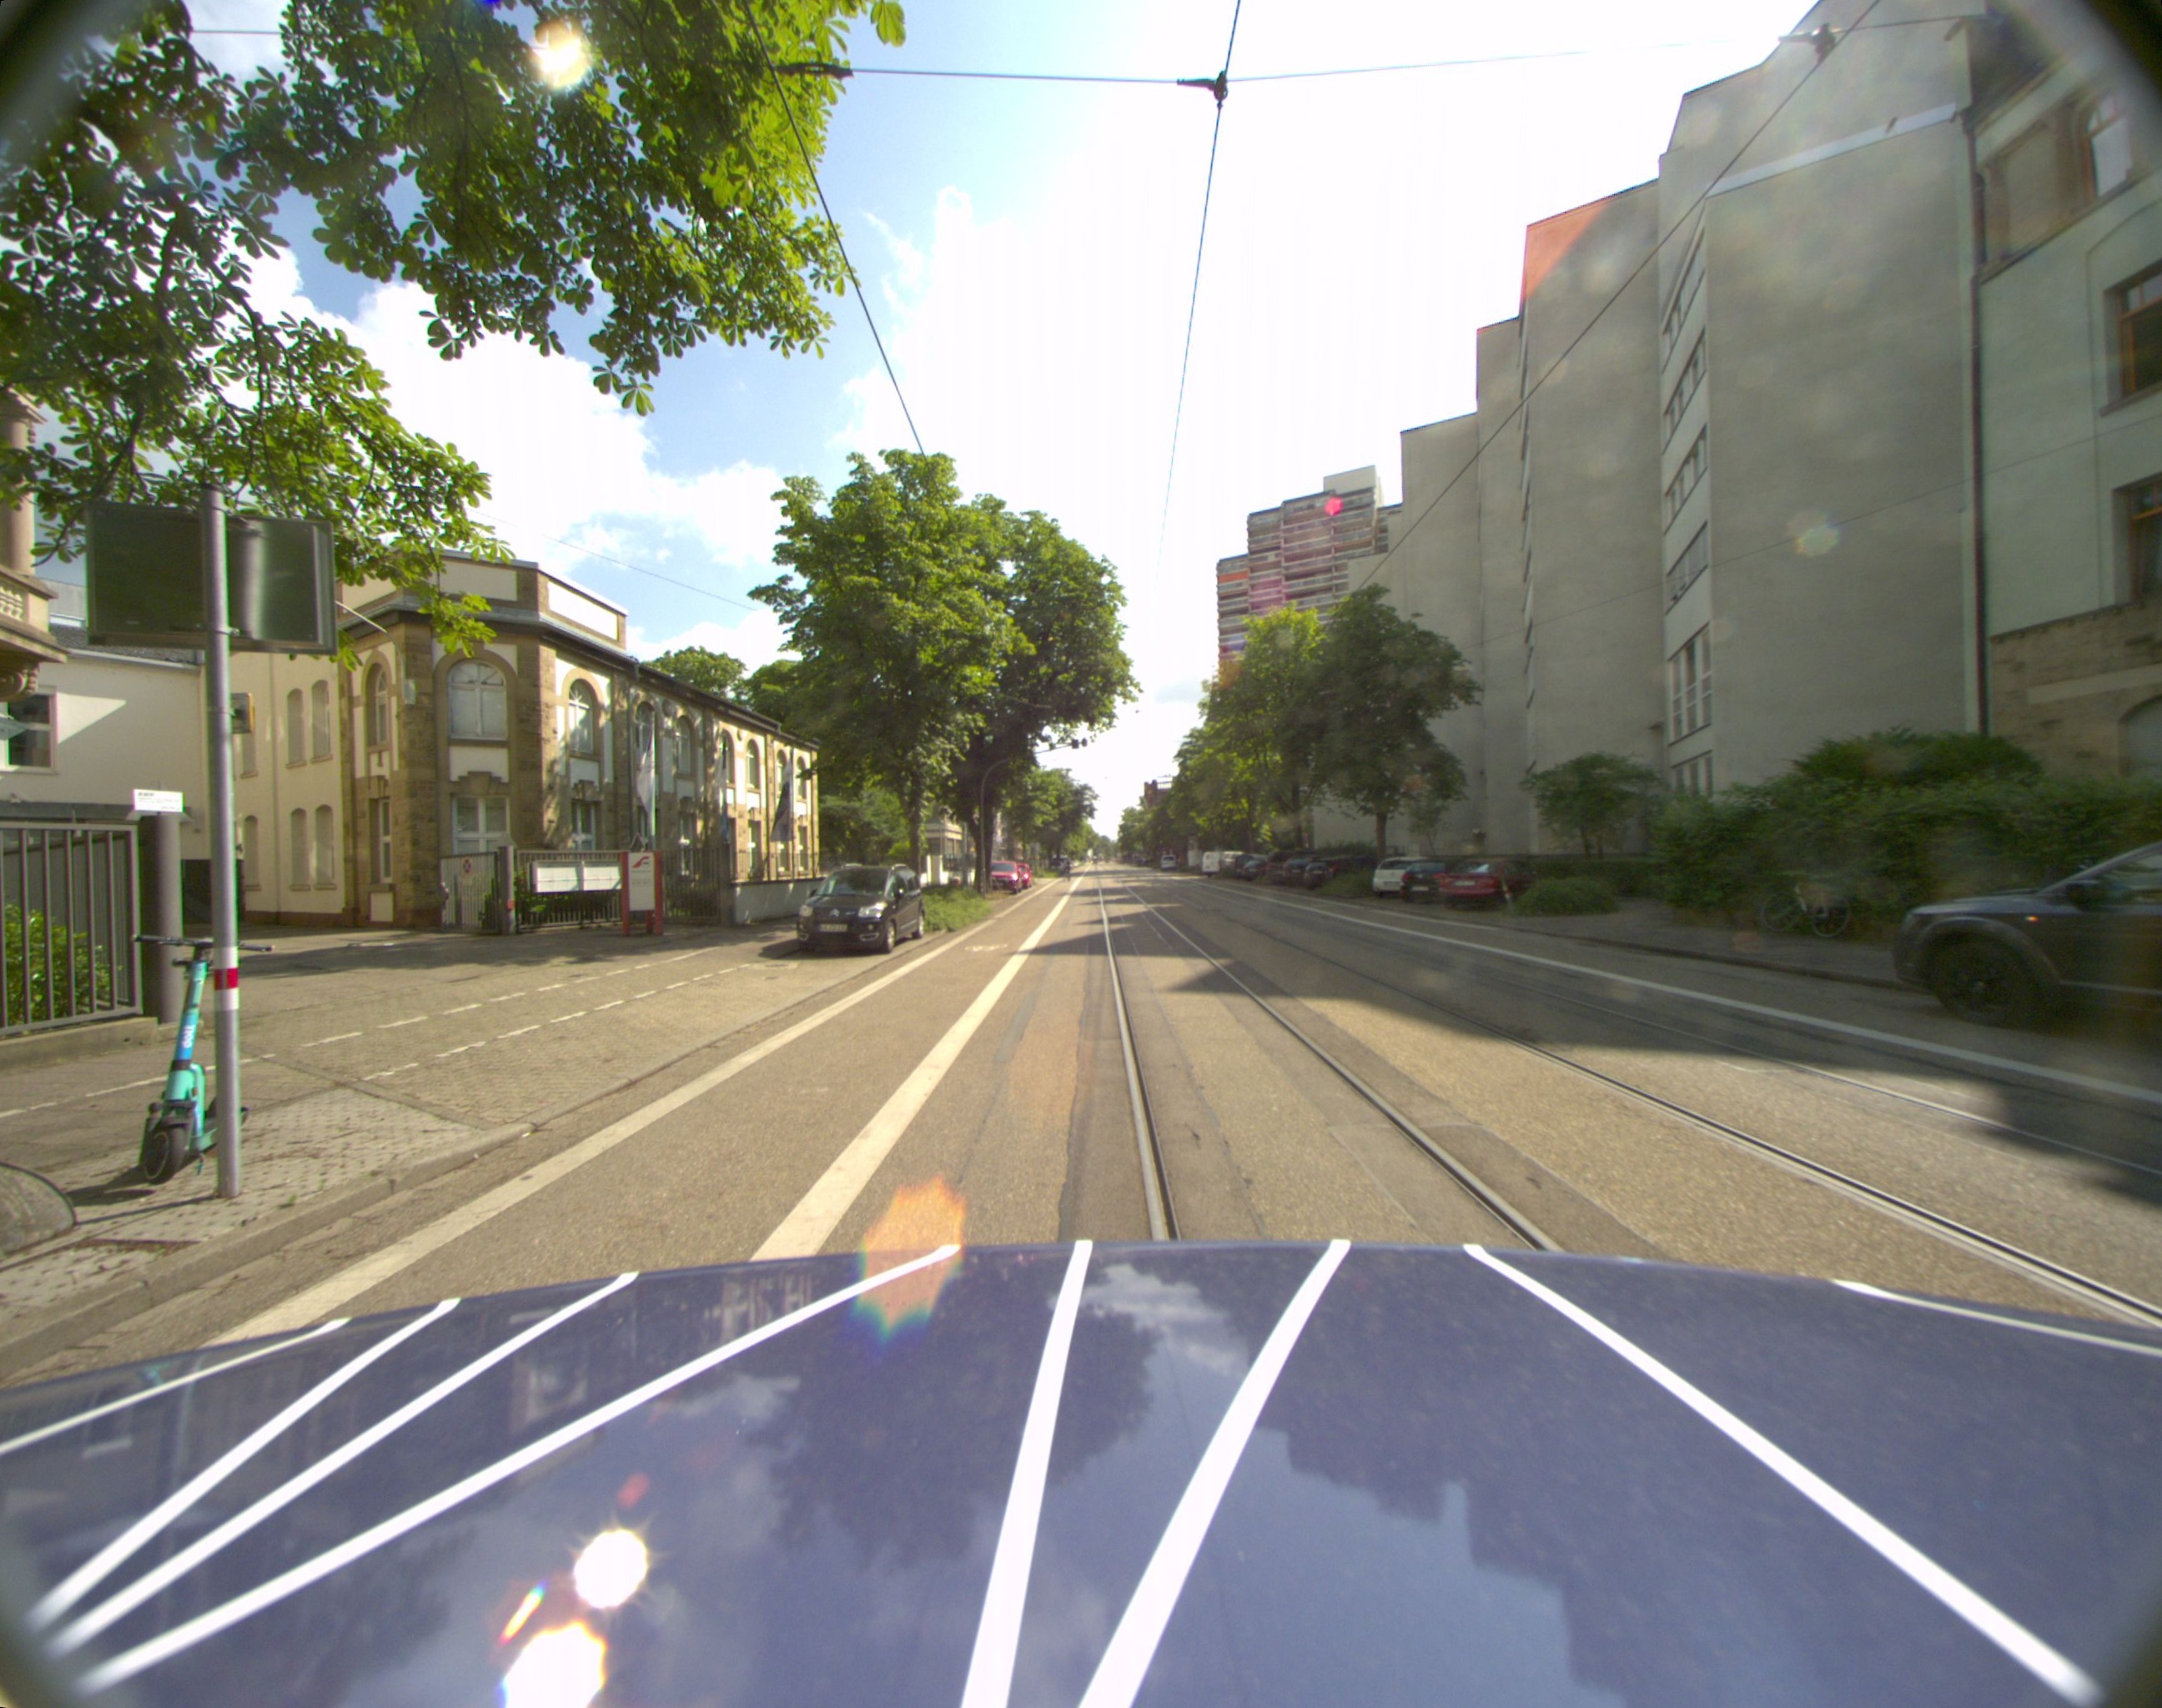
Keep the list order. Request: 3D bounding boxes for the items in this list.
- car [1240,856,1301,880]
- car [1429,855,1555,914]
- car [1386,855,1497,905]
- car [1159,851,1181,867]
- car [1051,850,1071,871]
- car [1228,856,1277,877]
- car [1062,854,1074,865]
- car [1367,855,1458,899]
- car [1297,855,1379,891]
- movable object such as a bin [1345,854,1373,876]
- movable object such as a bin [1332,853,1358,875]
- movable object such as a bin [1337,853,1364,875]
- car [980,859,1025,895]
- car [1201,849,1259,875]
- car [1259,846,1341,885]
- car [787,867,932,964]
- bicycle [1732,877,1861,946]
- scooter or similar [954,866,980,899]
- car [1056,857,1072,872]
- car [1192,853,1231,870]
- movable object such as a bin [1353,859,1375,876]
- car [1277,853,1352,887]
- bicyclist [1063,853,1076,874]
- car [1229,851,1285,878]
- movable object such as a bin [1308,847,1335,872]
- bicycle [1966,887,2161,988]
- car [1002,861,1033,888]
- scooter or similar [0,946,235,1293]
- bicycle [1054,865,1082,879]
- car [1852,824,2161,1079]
[{"bbox_3d":[11.746,0.847,46.967,4.009,1.409,1.755,1,0,-45],"label":"car"},{"bbox_3d":[11.593,0.813,21.339,3.979,1.475,1.841,1,0,-42],"label":"car"},{"bbox_3d":[11.635,0.811,24.434,3.815,1.475,1.693,1,0,-38],"label":"car"},{"bbox_3d":[10.896,0.596,93.476,1.892,1.840,4.235,-4,0,-2],"label":"car"},{"bbox_3d":[-2.578,0.872,100.876,2.337,2.545,5.390,-4,0,0],"label":"car"},{"bbox_3d":[12.270,0.877,54.159,1.717,1.409,4.009,1,0,40],"label":"car"},{"bbox_3d":[-2.185,0.937,128.456,1.750,1.597,4.236,-4,0,0],"label":"car"},{"bbox_3d":[12.129,0.811,27.663,3.816,1.475,1.692,1,0,-44],"label":"car"},{"bbox_3d":[11.637,0.837,34.299,4.009,1.475,1.736,1,0,-41],"label":"car"},{"bbox_3d":[17.312,0.664,47.418,1.171,1.276,1.441,2,1,0],"label":"movable object such as a bin"},{"bbox_3d":[17.649,0.669,50.793,1.196,1.372,1.441,2,1,-2],"label":"movable object such as a bin"},{"bbox_3d":[17.321,0.621,48.889,1.166,1.319,1.441,2,1,0],"label":"movable object such as a bin"},{"bbox_3d":[-3.881,1.108,38.333,1.881,1.666,4.281,0,0,-1],"label":"car"},{"bbox_3d":[11.827,0.626,60.154,4.695,1.985,1.963,-1,0,-41],"label":"car"},{"bbox_3d":[11.854,0.595,40.844,5.180,1.943,1.911,1,0,-45],"label":"car"},{"bbox_3d":[-4.297,1.114,15.395,1.701,1.582,4.202,0,0,0],"label":"car"},{"bbox_3d":[11.340,0.880,12.123,0.383,0.953,1.810,-3,0,3],"label":"bicycle"},{"bbox_3d":[-4.474,1.111,29.973,0.341,1.230,1.262,2,1,25],"label":"scooter or similar"},{"bbox_3d":[-2.036,1.287,90.800,1.750,1.597,4.236,-4,0,0],"label":"car"},{"bbox_3d":[12.726,0.728,73.829,1.737,1.514,3.893,-1,0,45],"label":"car"},{"bbox_3d":[17.200,0.816,46.219,0.966,0.981,0.935,2,1,0],"label":"movable object such as a bin"},{"bbox_3d":[11.557,0.788,37.461,4.009,1.583,1.736,1,0,-43],"label":"car"},{"bbox_3d":[-0.872,0.736,57.212,0.740,1.567,0.644,0,1,24],"label":"bicyclist"},{"bbox_3d":[11.739,0.711,50.547,3.723,1.683,1.755,1,0,-42],"label":"car"},{"bbox_3d":[17.620,0.424,55.794,1.391,1.771,1.538,2,1,-3],"label":"movable object such as a bin"},{"bbox_3d":[11.245,0.890,8.595,0.383,0.953,1.810,-3,0,3],"label":"bicycle"},{"bbox_3d":[-3.779,1.204,45.707,1.604,1.420,3.595,2,0,-2],"label":"car"},{"bbox_3d":[-4.636,1.139,3.600,0.443,1.291,1.179,2,-2,-30],"label":"scooter or similar"},{"bbox_3d":[-0.962,1.323,57.263,1.995,1.034,0.658,0,1,24],"label":"bicycle"},{"bbox_3d":[8.331,0.655,4.850,1.789,1.752,4.882,-1,0,-1],"label":"car"}]
